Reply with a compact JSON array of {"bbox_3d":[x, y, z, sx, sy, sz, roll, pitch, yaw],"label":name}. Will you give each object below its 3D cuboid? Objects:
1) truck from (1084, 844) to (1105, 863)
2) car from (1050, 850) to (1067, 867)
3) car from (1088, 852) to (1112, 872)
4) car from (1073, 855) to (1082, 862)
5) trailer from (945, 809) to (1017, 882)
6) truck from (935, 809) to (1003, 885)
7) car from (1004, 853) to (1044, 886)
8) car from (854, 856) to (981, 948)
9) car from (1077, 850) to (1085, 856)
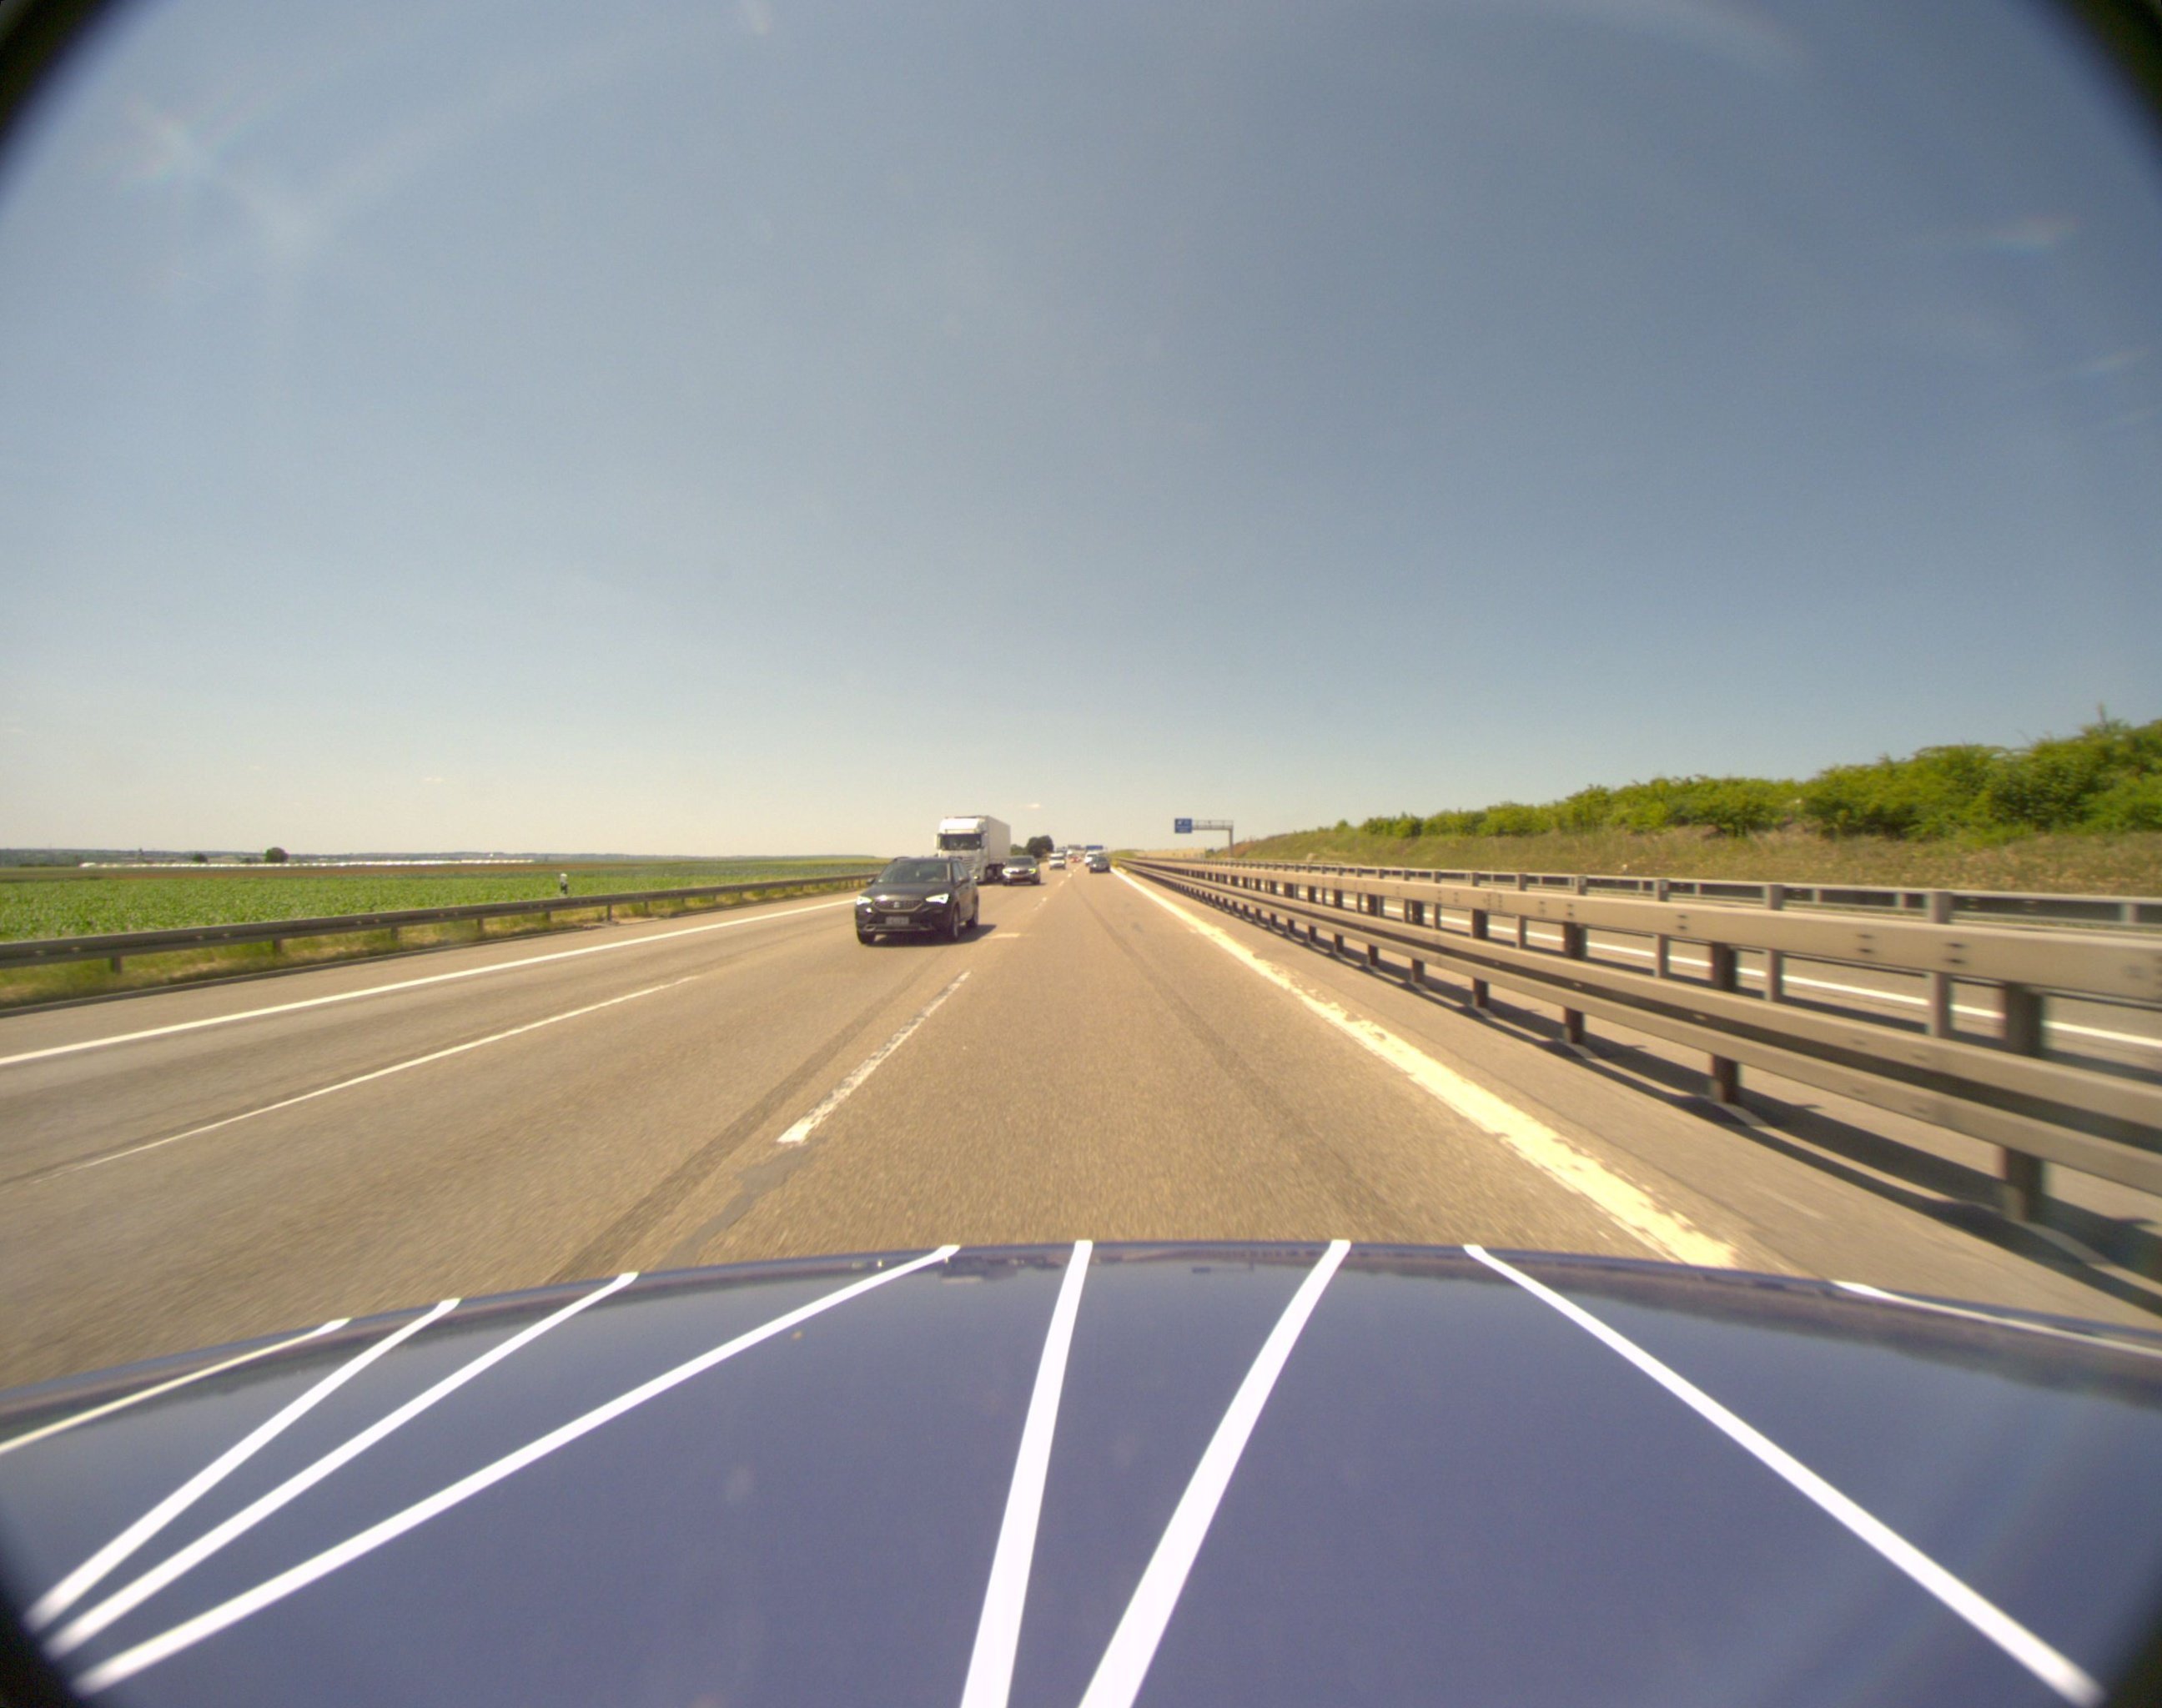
[{"bbox_3d":[1.728,-0.141,101.758,2.334,2.378,6.685,-2,1,-2],"label":"truck"},{"bbox_3d":[-2.579,0.505,87.991,1.812,1.836,5.311,-2,0,-2],"label":"car"},{"bbox_3d":[1.495,0.645,62.393,1.715,1.586,4.546,0,0,-2],"label":"car"},{"bbox_3d":[-0.778,1.034,167.672,1.723,1.514,3.582,-2,1,2],"label":"car"},{"bbox_3d":[-6.489,-0.539,51.659,2.875,4.195,13.293,-2,1,0],"label":"trailer"},{"bbox_3d":[-6.555,-0.411,45.401,2.870,4.068,6.878,-2,1,0],"label":"truck"},{"bbox_3d":[-3.102,0.823,42.192,1.856,1.638,4.645,-2,-1,0],"label":"car"},{"bbox_3d":[-3.227,0.881,15.767,1.801,1.553,3.822,-2,1,-1],"label":"car"},{"bbox_3d":[-0.024,-0.339,197.768,1.724,1.514,3.581,-2,1,-2],"label":"car"}]
